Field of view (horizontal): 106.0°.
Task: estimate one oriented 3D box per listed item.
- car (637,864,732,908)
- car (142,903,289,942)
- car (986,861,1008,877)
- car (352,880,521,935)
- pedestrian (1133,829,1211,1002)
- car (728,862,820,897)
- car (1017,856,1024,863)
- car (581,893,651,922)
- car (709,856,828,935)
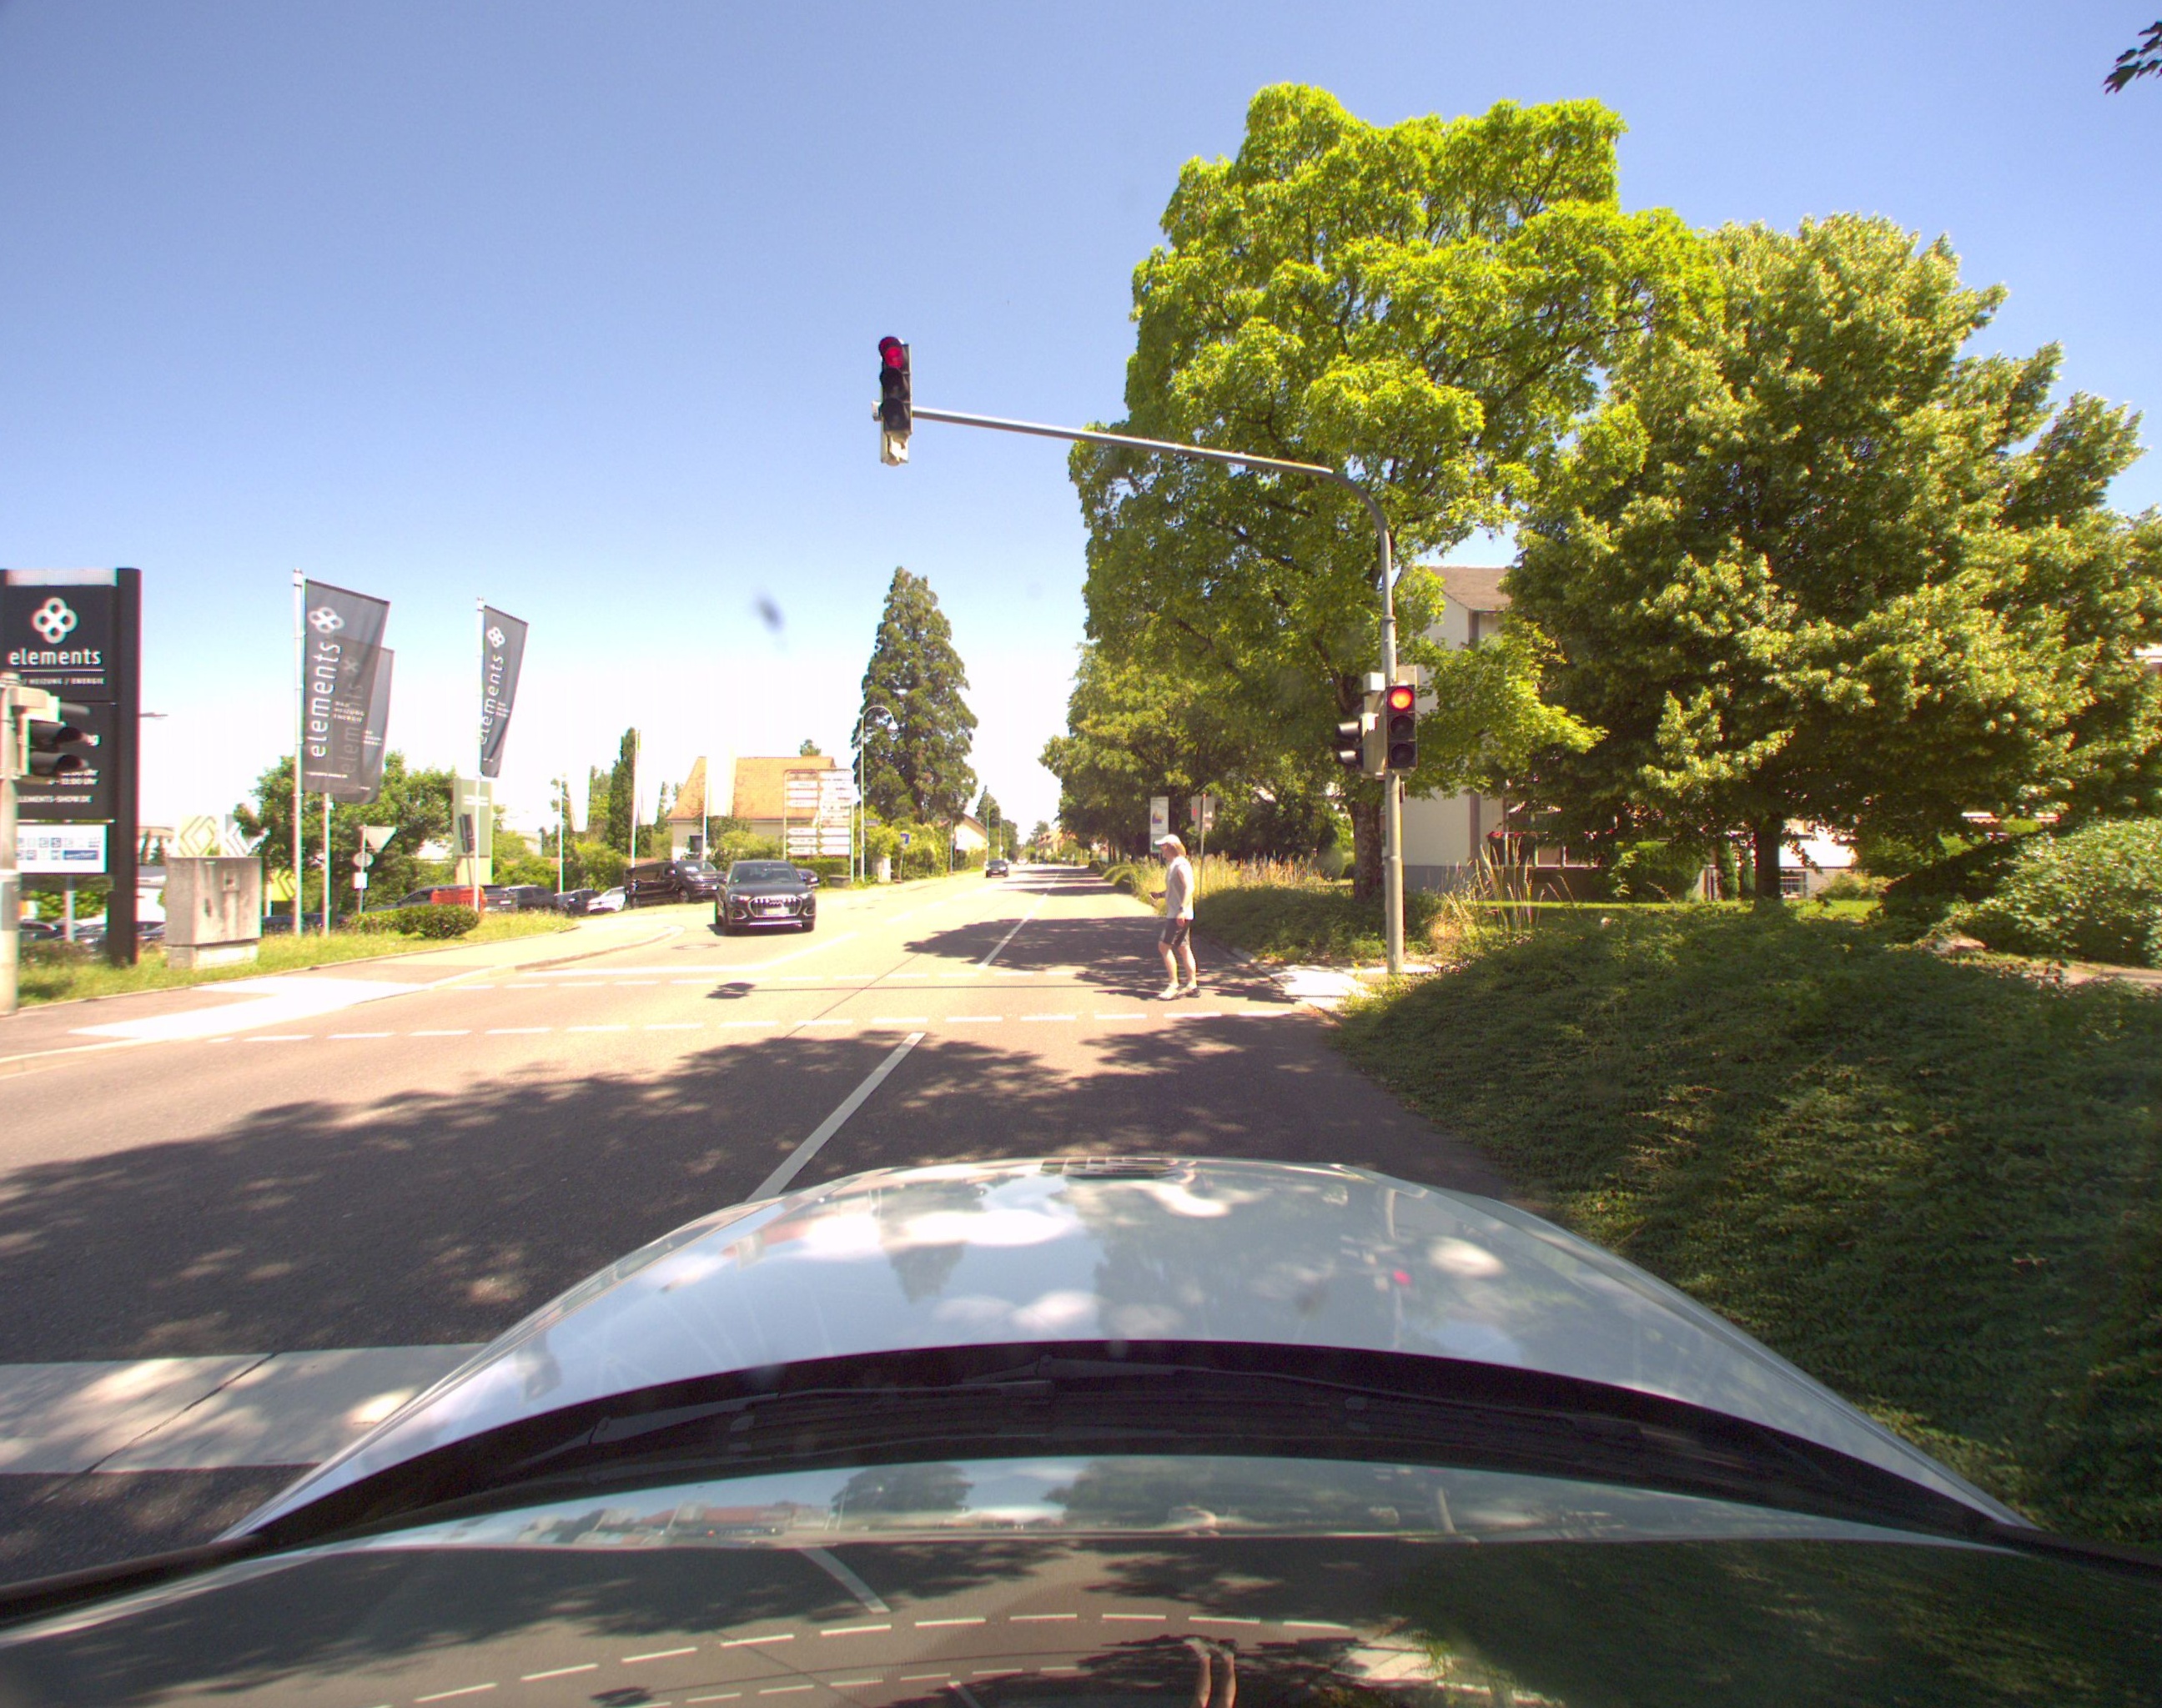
[{"bbox_3d":[-16.218,1.287,33.443,3.144,1.714,1.569,0,-1,-9],"label":"car"},{"bbox_3d":[-34.811,2.747,32.829,3.973,1.413,1.756,0,-1,0],"label":"car"},{"bbox_3d":[-6.998,1.270,68.276,1.426,1.322,3.356,0,-1,2],"label":"car"},{"bbox_3d":[-21.806,1.791,27.665,4.277,1.718,1.887,-1,-1,3],"label":"car"},{"bbox_3d":[0.968,0.631,8.693,0.607,1.751,0.566,-1,-1,39],"label":"pedestrian"},{"bbox_3d":[-13.642,1.126,36.303,3.486,1.427,1.597,-1,0,-6],"label":"car"},{"bbox_3d":[-13.344,1.299,179.369,1.551,1.448,3.786,0,-1,-2],"label":"car"},{"bbox_3d":[-23.194,2.653,40.735,1.743,1.226,3.240,0,0,-3],"label":"car"},{"bbox_3d":[-7.247,0.902,18.630,1.934,1.526,4.266,-2,-1,-29],"label":"car"}]
